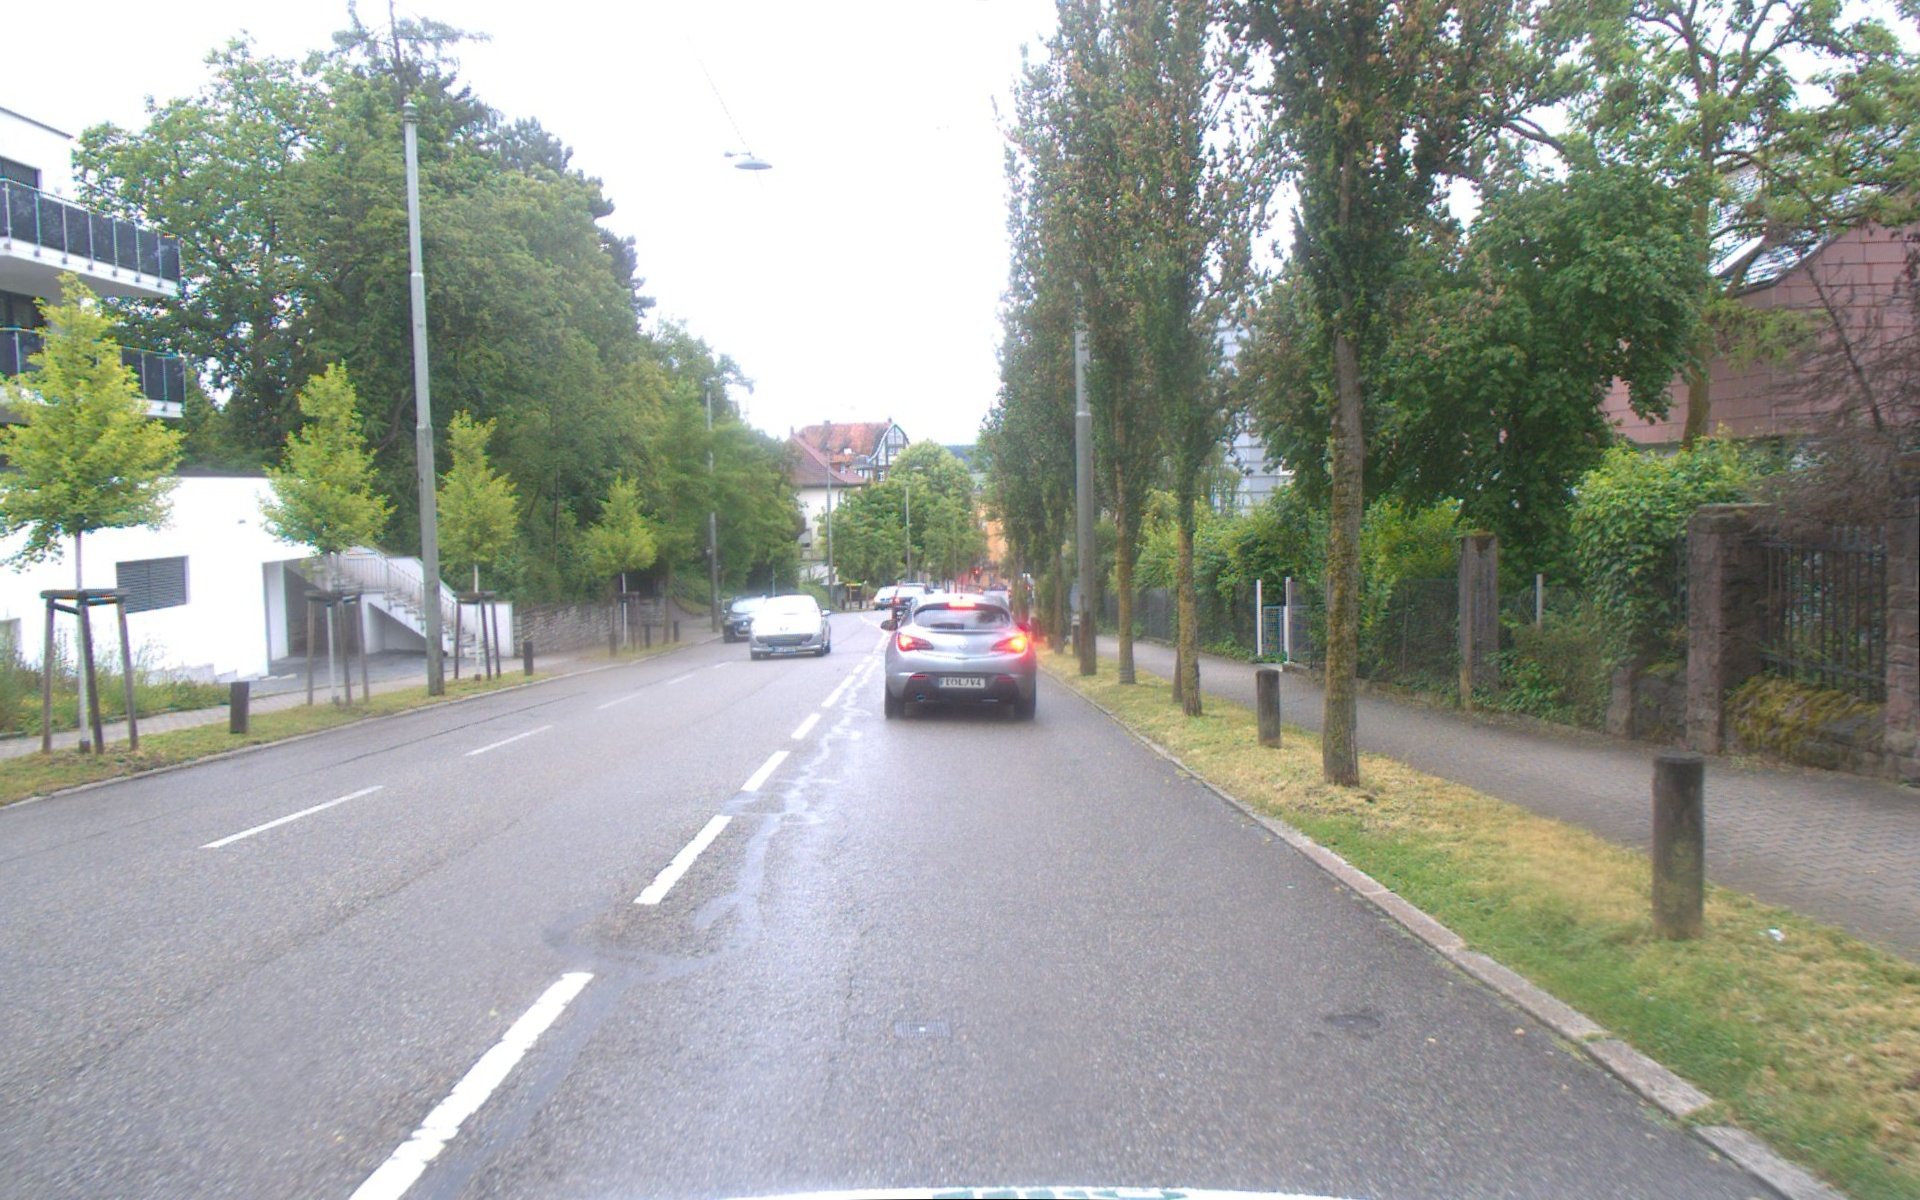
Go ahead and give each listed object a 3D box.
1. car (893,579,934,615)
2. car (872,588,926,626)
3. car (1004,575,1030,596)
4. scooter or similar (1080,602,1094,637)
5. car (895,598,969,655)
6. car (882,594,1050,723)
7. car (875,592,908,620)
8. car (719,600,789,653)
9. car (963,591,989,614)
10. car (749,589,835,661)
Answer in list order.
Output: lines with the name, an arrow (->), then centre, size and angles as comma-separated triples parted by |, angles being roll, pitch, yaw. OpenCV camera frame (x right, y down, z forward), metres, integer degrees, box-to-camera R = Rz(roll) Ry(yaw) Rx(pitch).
car -> -2.501, -0.159, 89.727 | 1.731, 1.812, 3.979 | 1, 1, 4
car -> -2.642, 0.265, 72.394 | 1.919, 1.497, 3.953 | 1, 2, 4
car -> 5.924, -1.486, 170.392 | 2.284, 2.071, 4.739 | 1, 2, 6
scooter or similar -> 4.714, 0.727, 61.555 | 0.336, 1.276, 1.267 | 1, 0, -2
car -> -0.675, 0.645, 42.605 | 1.760, 1.346, 4.001 | 0, 1, 1
car -> 0.040, 0.661, 20.732 | 1.905, 1.457, 3.883 | 0, 0, -1
car -> -4.304, 0.350, 104.268 | 1.729, 1.511, 3.802 | -3, 1, 1
car -> -7.009, 0.878, 56.644 | 1.710, 1.576, 3.918 | -5, 0, 1
car -> 1.224, 0.157, 126.961 | 1.717, 1.679, 4.002 | 1, 0, 4
car -> -3.934, 0.563, 39.173 | 1.727, 1.512, 3.998 | -3, 0, -3
